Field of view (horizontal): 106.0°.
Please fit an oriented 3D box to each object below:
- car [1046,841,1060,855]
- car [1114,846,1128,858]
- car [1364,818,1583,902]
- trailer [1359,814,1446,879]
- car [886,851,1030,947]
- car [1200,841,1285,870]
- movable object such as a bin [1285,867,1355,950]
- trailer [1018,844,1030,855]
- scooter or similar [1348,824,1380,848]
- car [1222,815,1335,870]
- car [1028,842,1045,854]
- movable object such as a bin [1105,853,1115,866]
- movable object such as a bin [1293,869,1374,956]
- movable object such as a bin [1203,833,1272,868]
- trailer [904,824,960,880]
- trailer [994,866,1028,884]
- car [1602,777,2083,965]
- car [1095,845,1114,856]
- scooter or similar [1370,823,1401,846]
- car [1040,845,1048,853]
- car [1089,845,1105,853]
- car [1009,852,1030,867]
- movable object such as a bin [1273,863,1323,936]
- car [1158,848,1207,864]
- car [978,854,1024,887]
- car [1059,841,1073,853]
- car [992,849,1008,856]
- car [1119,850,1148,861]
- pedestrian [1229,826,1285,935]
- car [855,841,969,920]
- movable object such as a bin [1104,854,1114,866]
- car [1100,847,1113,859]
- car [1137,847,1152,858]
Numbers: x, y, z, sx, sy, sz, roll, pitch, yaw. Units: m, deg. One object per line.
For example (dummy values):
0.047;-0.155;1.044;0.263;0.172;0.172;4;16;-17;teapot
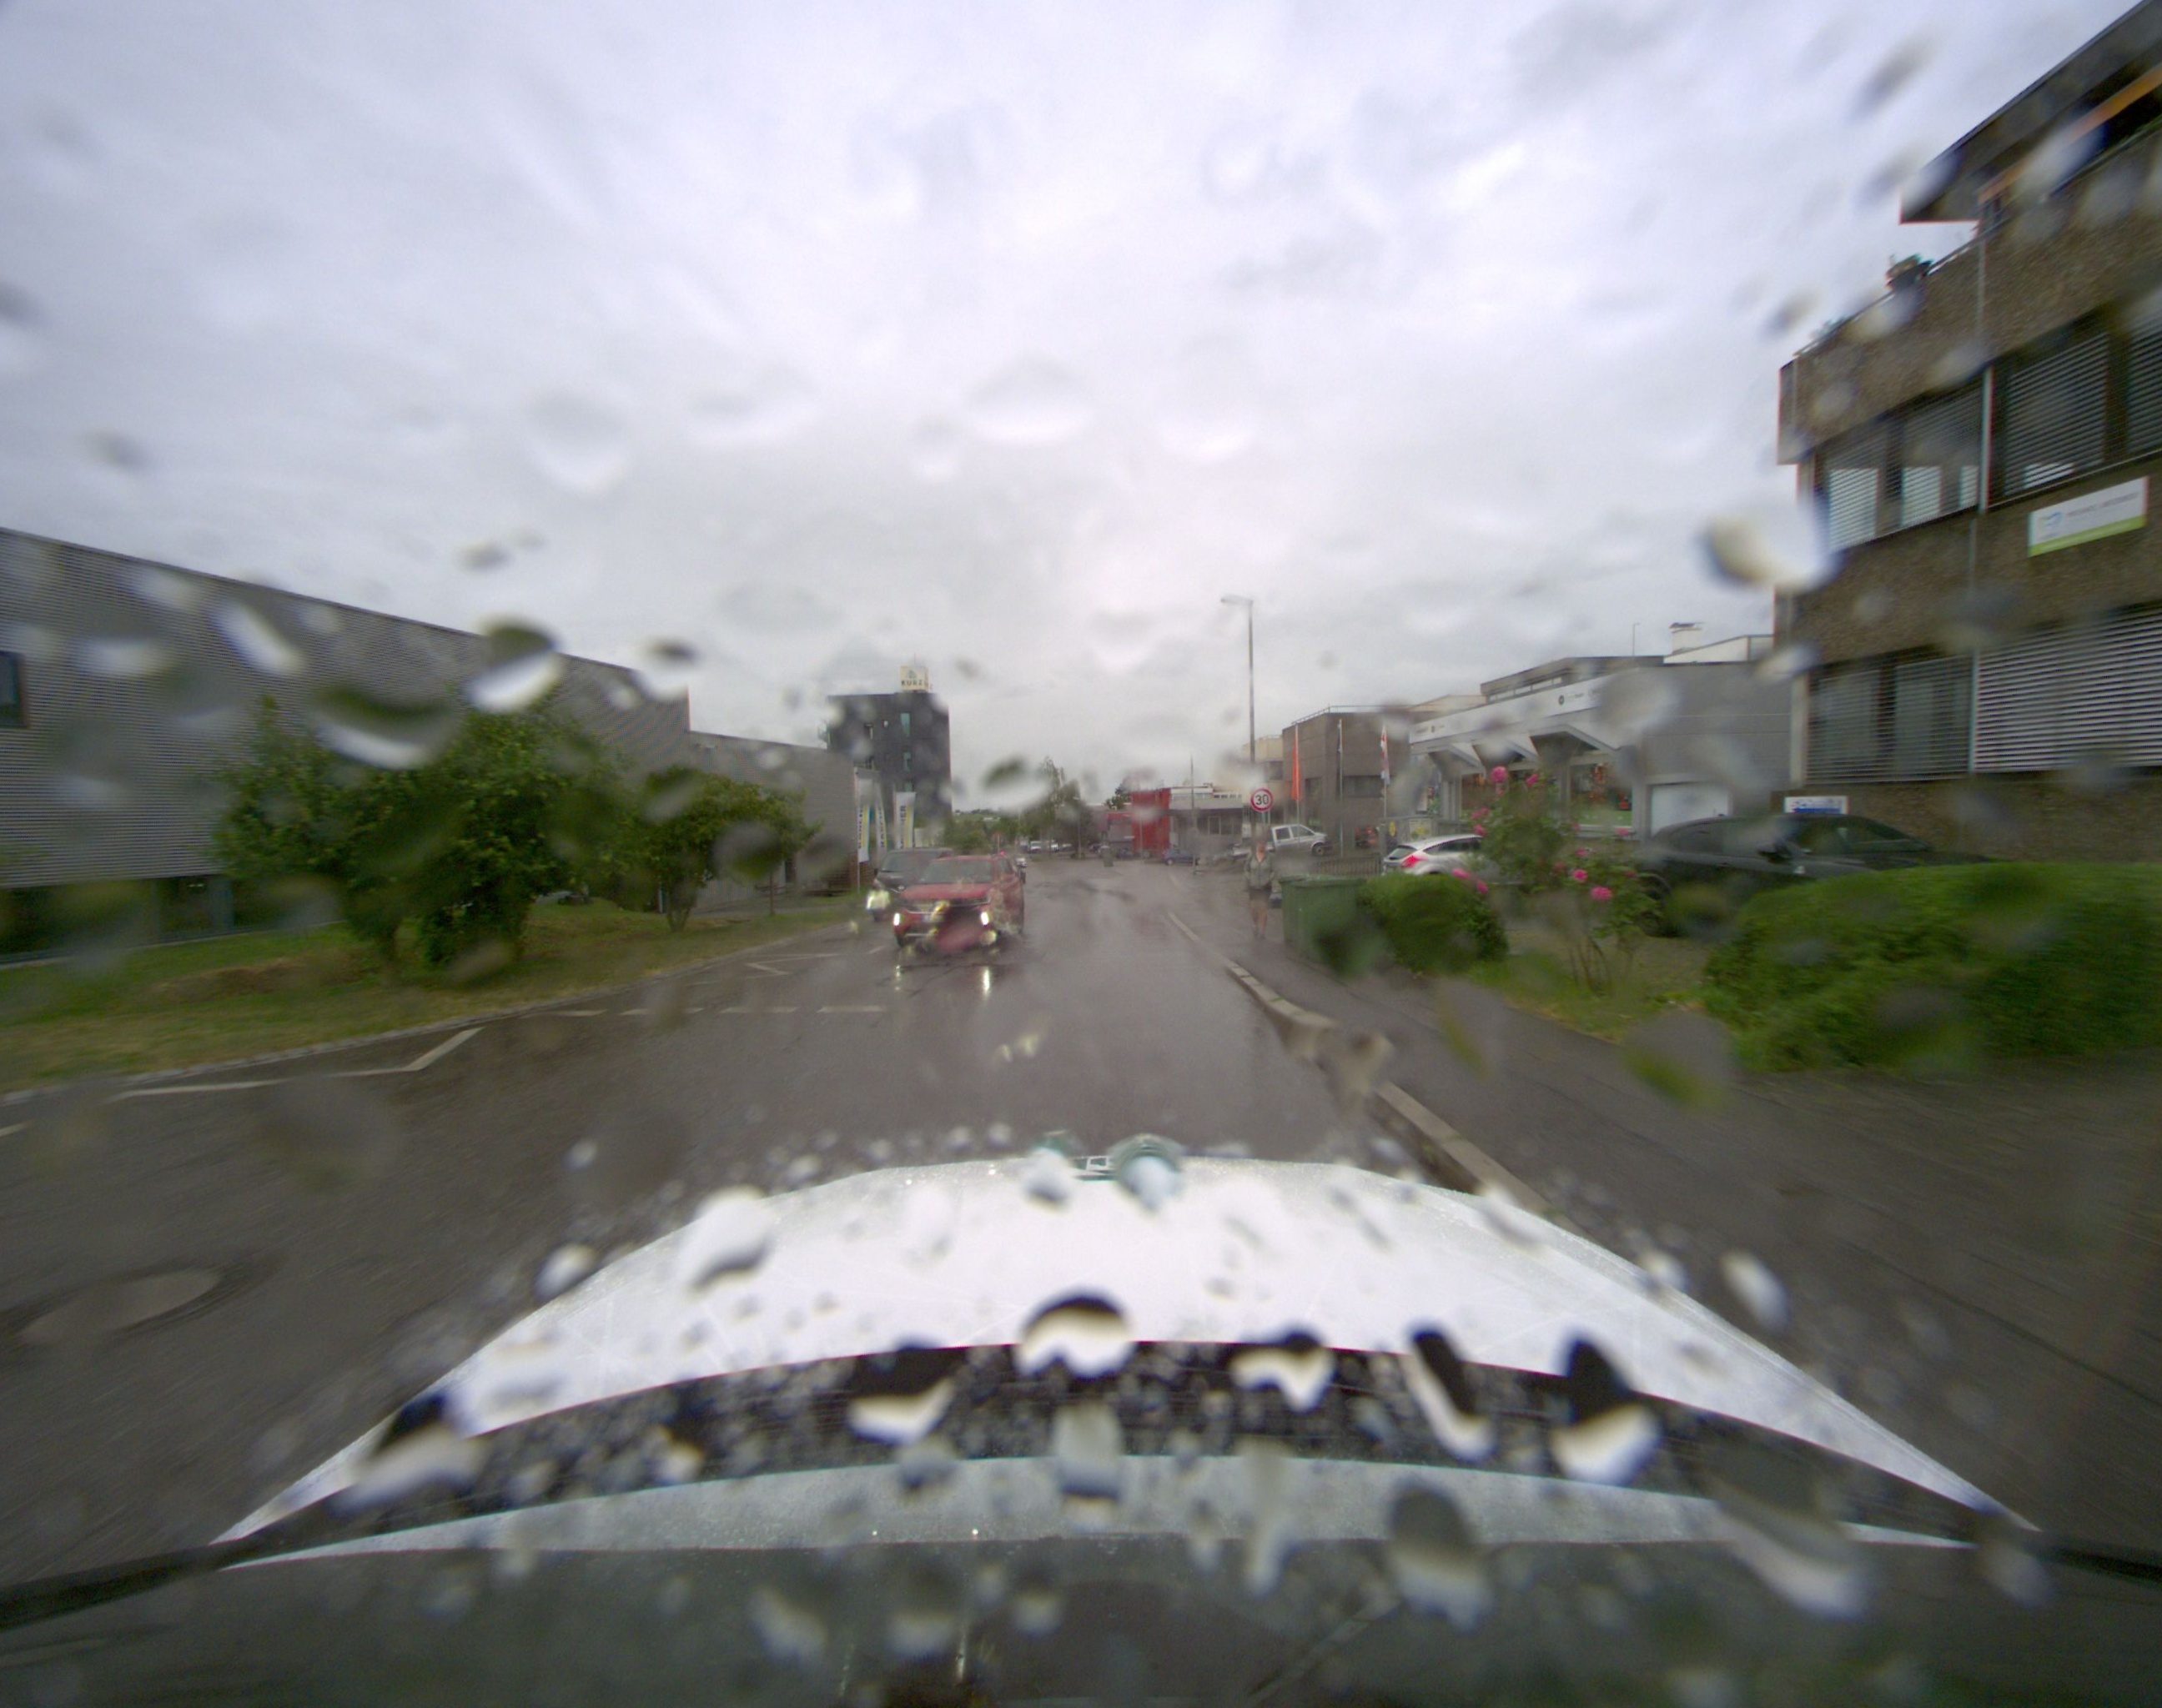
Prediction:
-5.160;-1.073;149.079;2.192;2.459;3.988;-2;-1;-8;car
5.666;-0.244;114.804;1.734;1.653;3.999;-2;-1;0;car
9.086;0.138;19.119;4.108;1.574;2.003;-4;-1;-1;car
12.975;-0.335;33.163;1.880;2.416;4.310;-2;1;1;trailer
-2.107;0.744;15.053;1.739;1.508;3.940;-1;-1;5;car
10.425;0.075;52.773;5.077;1.613;1.924;-3;1;-1;car
3.229;0.726;11.049;0.740;1.066;0.637;-2;0;1;movable object such as a bin
-10.648;-0.899;152.558;1.851;2.013;3.989;-2;0;-8;trailer
15.530;-1.008;44.748;1.060;1.224;2.066;-6;2;3;scooter or similar
10.462;-0.604;43.506;5.283;2.013;2.221;-10;-1;-1;car
-8.158;-1.013;148.595;2.269;2.014;3.978;-2;-1;-16;car
2.650;0.518;73.842;0.805;1.092;0.708;-3;0;-6;movable object such as a bin
3.175;0.719;10.314;0.769;1.030;0.808;-2;0;1;movable object such as a bin
10.477;-0.243;54.668;4.240;2.110;1.477;-3;0;0;movable object such as a bin
-11.868;-0.139;64.778;4.132;4.203;2.019;-3;0;38;trailer
-4.040;1.193;47.417;1.675;0.888;3.895;-2;-1;-1;trailer
8.794;0.185;10.113;1.743;1.750;4.473;-2;-1;0;car
3.479;-0.545;121.766;2.064;1.552;3.989;-2;-1;-8;car
16.748;-1.078;44.811;1.000;1.155;1.847;-6;0;3;scooter or similar
-7.024;-1.015;154.644;1.289;1.424;2.540;-2;-1;-7;car
2.630;-0.834;136.384;2.544;1.352;1.240;-2;0;-6;car
-6.908;0.653;90.815;1.771;1.513;4.128;-3;0;-12;car
3.469;0.715;13.019;0.723;1.113;0.707;-2;0;16;movable object such as a bin
8.662;0.180;69.623;3.883;1.383;1.820;0;-1;-1;car
-4.167;0.846;43.038;1.952;1.577;4.837;-3;-1;-2;car
-2.731;-1.218;150.101;2.143;2.014;3.930;-2;-1;-7;car
-19.317;-0.369;193.830;2.474;1.539;3.964;-2;-1;-27;car
6.170;0.168;96.499;3.388;1.163;1.792;-2;0;1;car
2.942;0.436;13.709;0.734;1.767;0.808;-2;-1;1;pedestrian
-4.404;0.644;22.018;1.909;1.831;4.849;-2;0;1;car
2.550;0.523;74.488;0.774;1.076;0.582;-3;0;-6;movable object such as a bin
3.569;-0.147;114.292;1.692;1.475;3.999;-2;-1;0;car
8.921;-0.205;114.203;1.723;1.422;3.999;-2;-1;0;car
